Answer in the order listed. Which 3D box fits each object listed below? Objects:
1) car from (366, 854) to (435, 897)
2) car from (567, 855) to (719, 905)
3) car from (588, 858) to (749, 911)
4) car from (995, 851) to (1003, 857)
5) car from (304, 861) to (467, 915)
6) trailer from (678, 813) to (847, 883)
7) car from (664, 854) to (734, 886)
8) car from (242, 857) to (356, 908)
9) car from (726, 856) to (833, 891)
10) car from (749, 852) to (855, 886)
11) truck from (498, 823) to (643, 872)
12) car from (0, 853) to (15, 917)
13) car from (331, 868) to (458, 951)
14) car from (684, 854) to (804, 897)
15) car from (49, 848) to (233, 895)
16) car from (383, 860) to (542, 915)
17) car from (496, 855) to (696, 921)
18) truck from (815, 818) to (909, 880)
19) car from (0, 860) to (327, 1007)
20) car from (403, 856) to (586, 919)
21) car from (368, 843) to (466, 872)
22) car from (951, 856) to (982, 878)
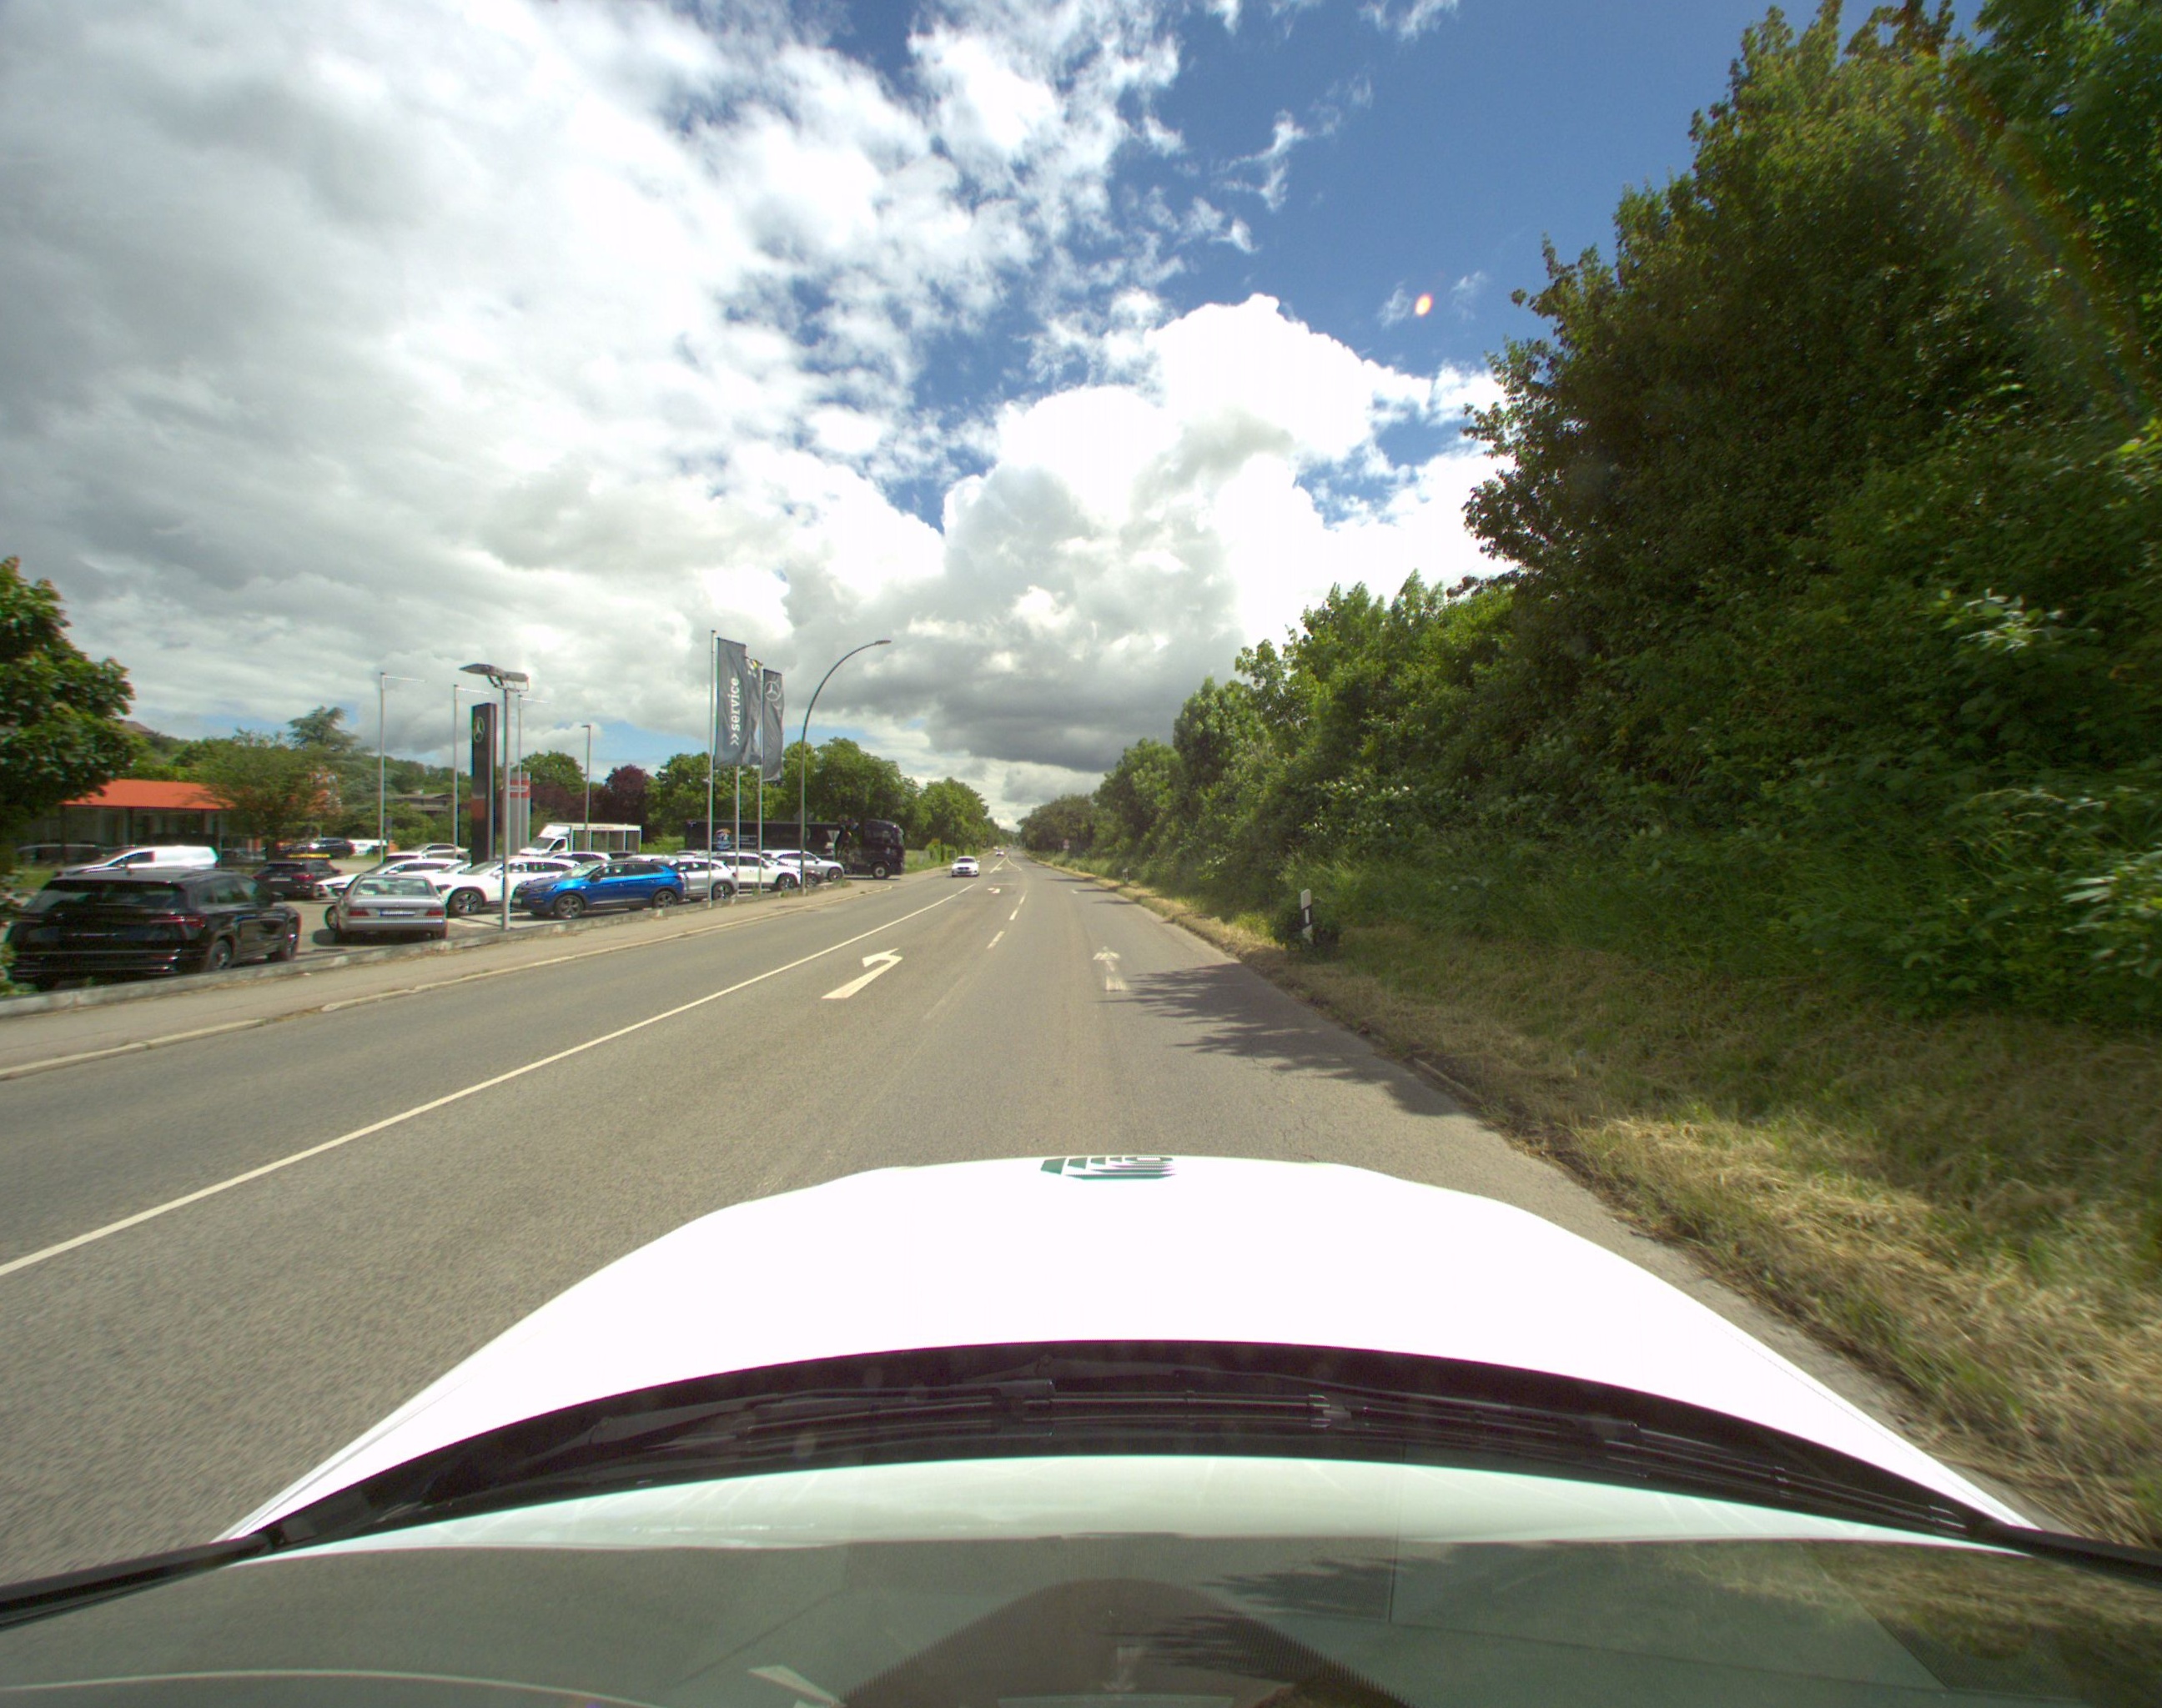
[{"bbox_3d":[-27.489,0.824,33.006,1.855,1.629,3.956,0,0,-36],"label":"car"},{"bbox_3d":[-15.806,0.871,29.639,1.850,1.566,4.550,2,1,33],"label":"car"},{"bbox_3d":[-13.898,0.962,27.704,1.850,1.566,4.550,2,1,33],"label":"car"},{"bbox_3d":[-18.351,-0.013,181.827,1.658,1.432,3.686,-1,1,-5],"label":"car"},{"bbox_3d":[-24.098,1.107,28.336,1.781,1.625,3.980,1,1,35],"label":"car"},{"bbox_3d":[-19.574,-0.350,50.585,9.469,4.083,3.297,0,-1,-21],"label":"trailer"},{"bbox_3d":[-20.616,0.798,44.152,1.794,1.601,4.758,-1,0,-4],"label":"car"},{"bbox_3d":[-28.489,0.981,29.822,1.807,1.625,3.923,0,1,-25],"label":"car"},{"bbox_3d":[-13.904,0.853,37.589,4.344,1.465,1.779,0,2,-33],"label":"car"},{"bbox_3d":[-14.180,0.723,41.648,1.963,1.605,4.772,1,0,40],"label":"car"},{"bbox_3d":[-34.220,-0.399,55.146,2.635,3.049,8.630,0,0,18],"label":"truck"},{"bbox_3d":[-28.977,0.753,20.448,4.526,1.590,1.939,0,-2,28],"label":"car"},{"bbox_3d":[-15.232,1.141,17.982,1.814,1.390,4.543,4,-1,-43],"label":"car"},{"bbox_3d":[-13.995,0.857,33.874,4.317,1.678,1.916,0,0,-35],"label":"car"},{"bbox_3d":[-39.243,0.676,34.167,1.811,1.846,4.701,0,0,24],"label":"car"},{"bbox_3d":[-21.032,1.075,27.842,1.781,1.625,3.980,1,1,35],"label":"car"},{"bbox_3d":[-13.938,0.912,23.685,1.870,1.668,4.600,2,0,33],"label":"car"},{"bbox_3d":[-13.931,-0.295,52.296,5.554,3.824,2.974,0,-1,-10],"label":"truck"},{"bbox_3d":[-13.051,1.006,11.975,1.809,1.625,4.312,4,-1,-29],"label":"car"},{"bbox_3d":[-17.125,0.893,23.997,1.782,1.625,3.978,1,1,26],"label":"car"},{"bbox_3d":[-43.747,0.228,53.800,1.811,1.846,4.701,0,0,24],"label":"car"},{"bbox_3d":[-8.152,0.928,58.106,1.991,1.450,4.417,-1,0,-6],"label":"car"}]
